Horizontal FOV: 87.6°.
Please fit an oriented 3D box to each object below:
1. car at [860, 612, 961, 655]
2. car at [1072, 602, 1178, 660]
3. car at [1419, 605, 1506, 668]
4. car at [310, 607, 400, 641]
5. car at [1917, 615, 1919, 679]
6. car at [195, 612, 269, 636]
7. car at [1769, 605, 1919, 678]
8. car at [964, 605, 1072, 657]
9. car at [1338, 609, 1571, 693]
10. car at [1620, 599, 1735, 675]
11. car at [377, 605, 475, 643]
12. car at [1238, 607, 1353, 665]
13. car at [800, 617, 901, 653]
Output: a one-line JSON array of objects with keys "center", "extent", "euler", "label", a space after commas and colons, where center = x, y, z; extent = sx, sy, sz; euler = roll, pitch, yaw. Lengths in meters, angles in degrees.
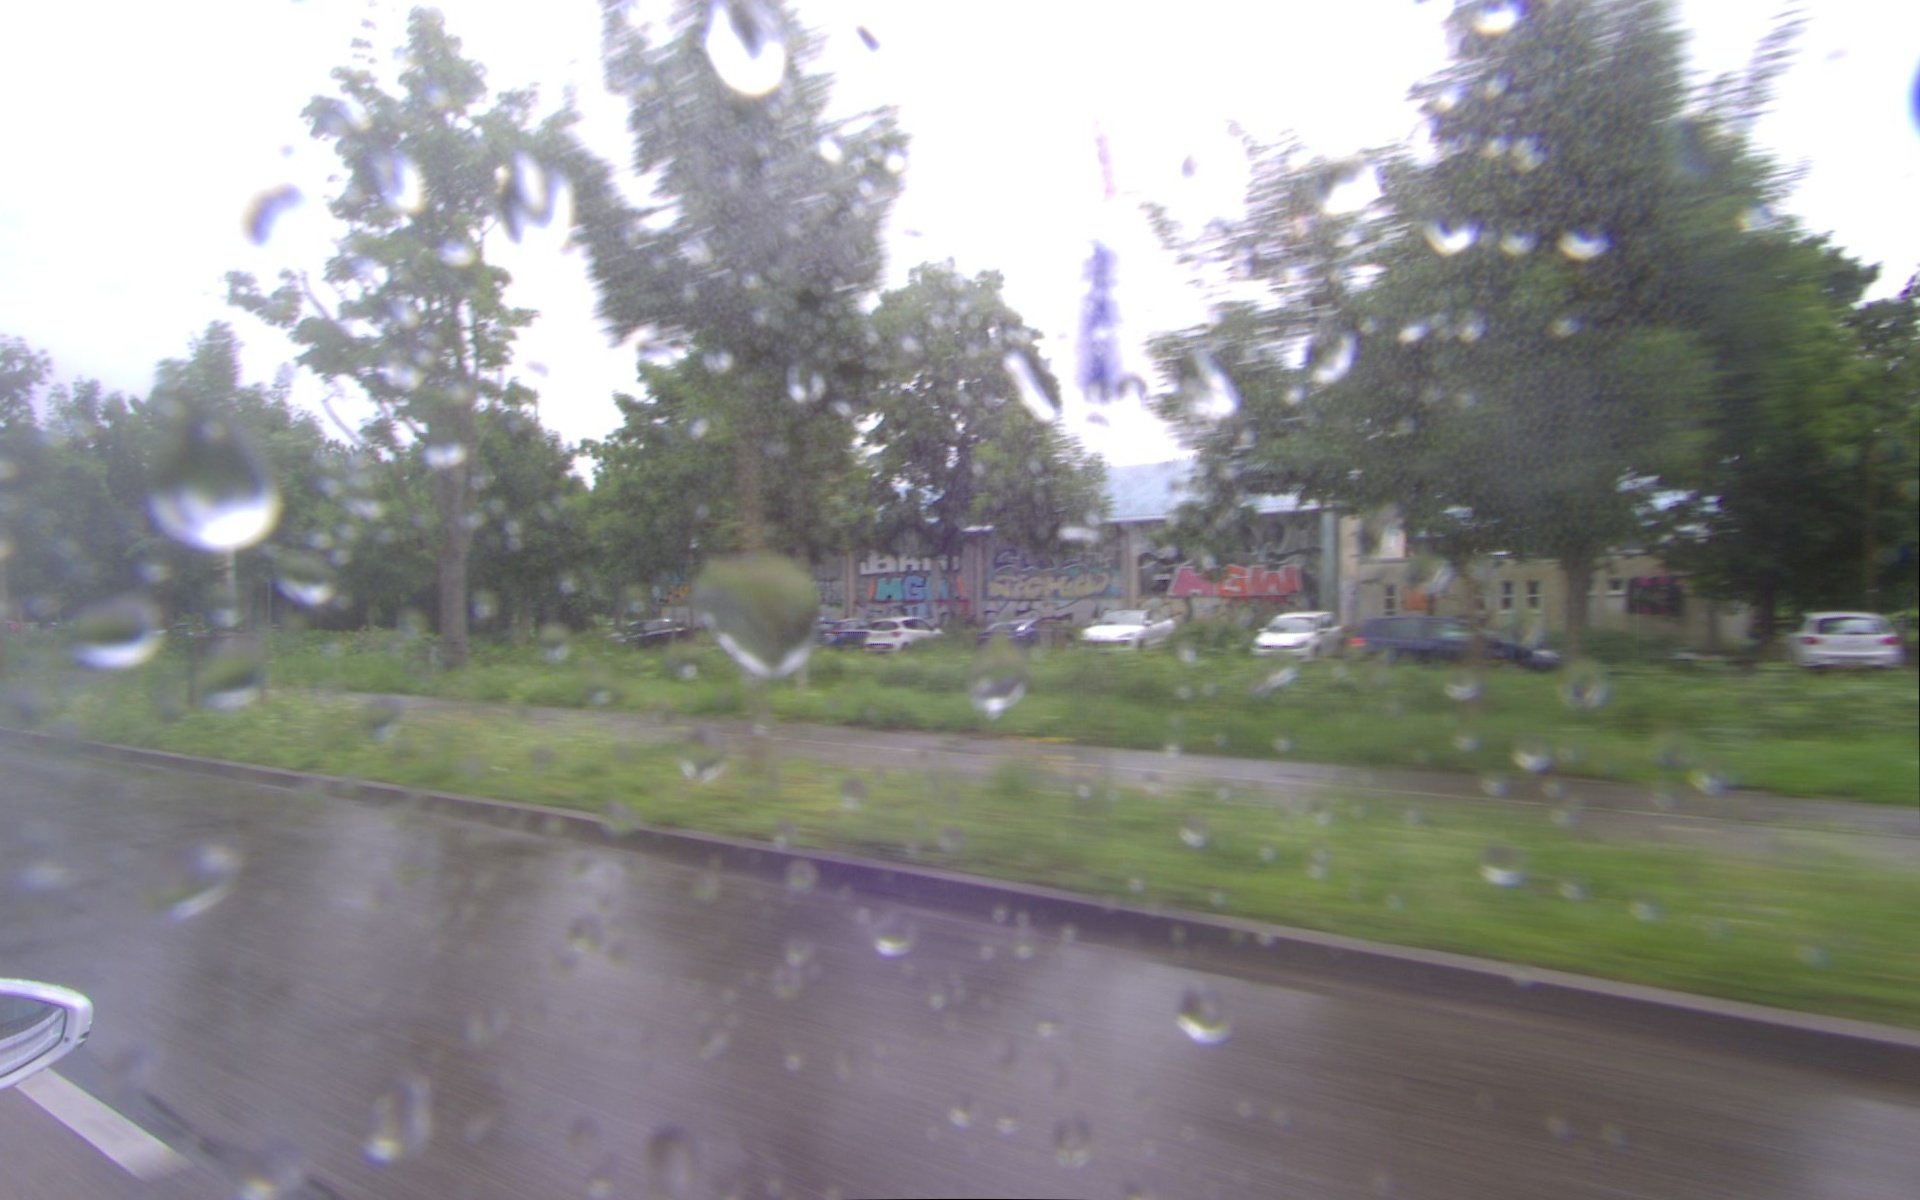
[{"center": [-1.843, 1.318, 38.656], "extent": [1.834, 1.566, 4.569], "euler": [-1, -3, 28], "label": "car"}, {"center": [5.429, 1.035, 32.553], "extent": [1.970, 1.727, 4.567], "euler": [-1, -3, 29], "label": "car"}, {"center": [13.858, 1.023, 27.500], "extent": [1.916, 1.577, 4.331], "euler": [-1, -3, 30], "label": "car"}, {"center": [-34.157, 1.391, 56.619], "extent": [1.870, 1.843, 3.947], "euler": [-1, -3, 34], "label": "car"}, {"center": [22.010, 0.992, 21.162], "extent": [1.764, 1.478, 4.124], "euler": [-1, -3, 32], "label": "car"}, {"center": [-52.572, 1.782, 72.354], "extent": [1.785, 1.660, 3.973], "euler": [-1, -3, 38], "label": "car"}, {"center": [20.023, 0.959, 22.859], "extent": [1.734, 1.502, 4.186], "euler": [-1, -3, 30], "label": "car"}, {"center": [2.056, 1.087, 34.192], "extent": [1.969, 1.665, 4.569], "euler": [-1, -3, 28], "label": "car"}, {"center": [10.118, 0.969, 20.616], "extent": [4.066, 1.465, 1.739], "euler": [1, 1, 36], "label": "car"}, {"center": [18.115, 0.959, 25.462], "extent": [1.916, 1.746, 4.331], "euler": [-1, -3, 30], "label": "car"}, {"center": [-26.975, 1.269, 50.709], "extent": [1.870, 1.843, 3.947], "euler": [-1, -3, 34], "label": "car"}, {"center": [9.973, 1.090, 29.528], "extent": [1.920, 1.577, 4.556], "euler": [-1, -3, 36], "label": "car"}, {"center": [-4.218, 1.389, 39.185], "extent": [1.809, 1.351, 4.397], "euler": [-1, -3, 28], "label": "car"}]
